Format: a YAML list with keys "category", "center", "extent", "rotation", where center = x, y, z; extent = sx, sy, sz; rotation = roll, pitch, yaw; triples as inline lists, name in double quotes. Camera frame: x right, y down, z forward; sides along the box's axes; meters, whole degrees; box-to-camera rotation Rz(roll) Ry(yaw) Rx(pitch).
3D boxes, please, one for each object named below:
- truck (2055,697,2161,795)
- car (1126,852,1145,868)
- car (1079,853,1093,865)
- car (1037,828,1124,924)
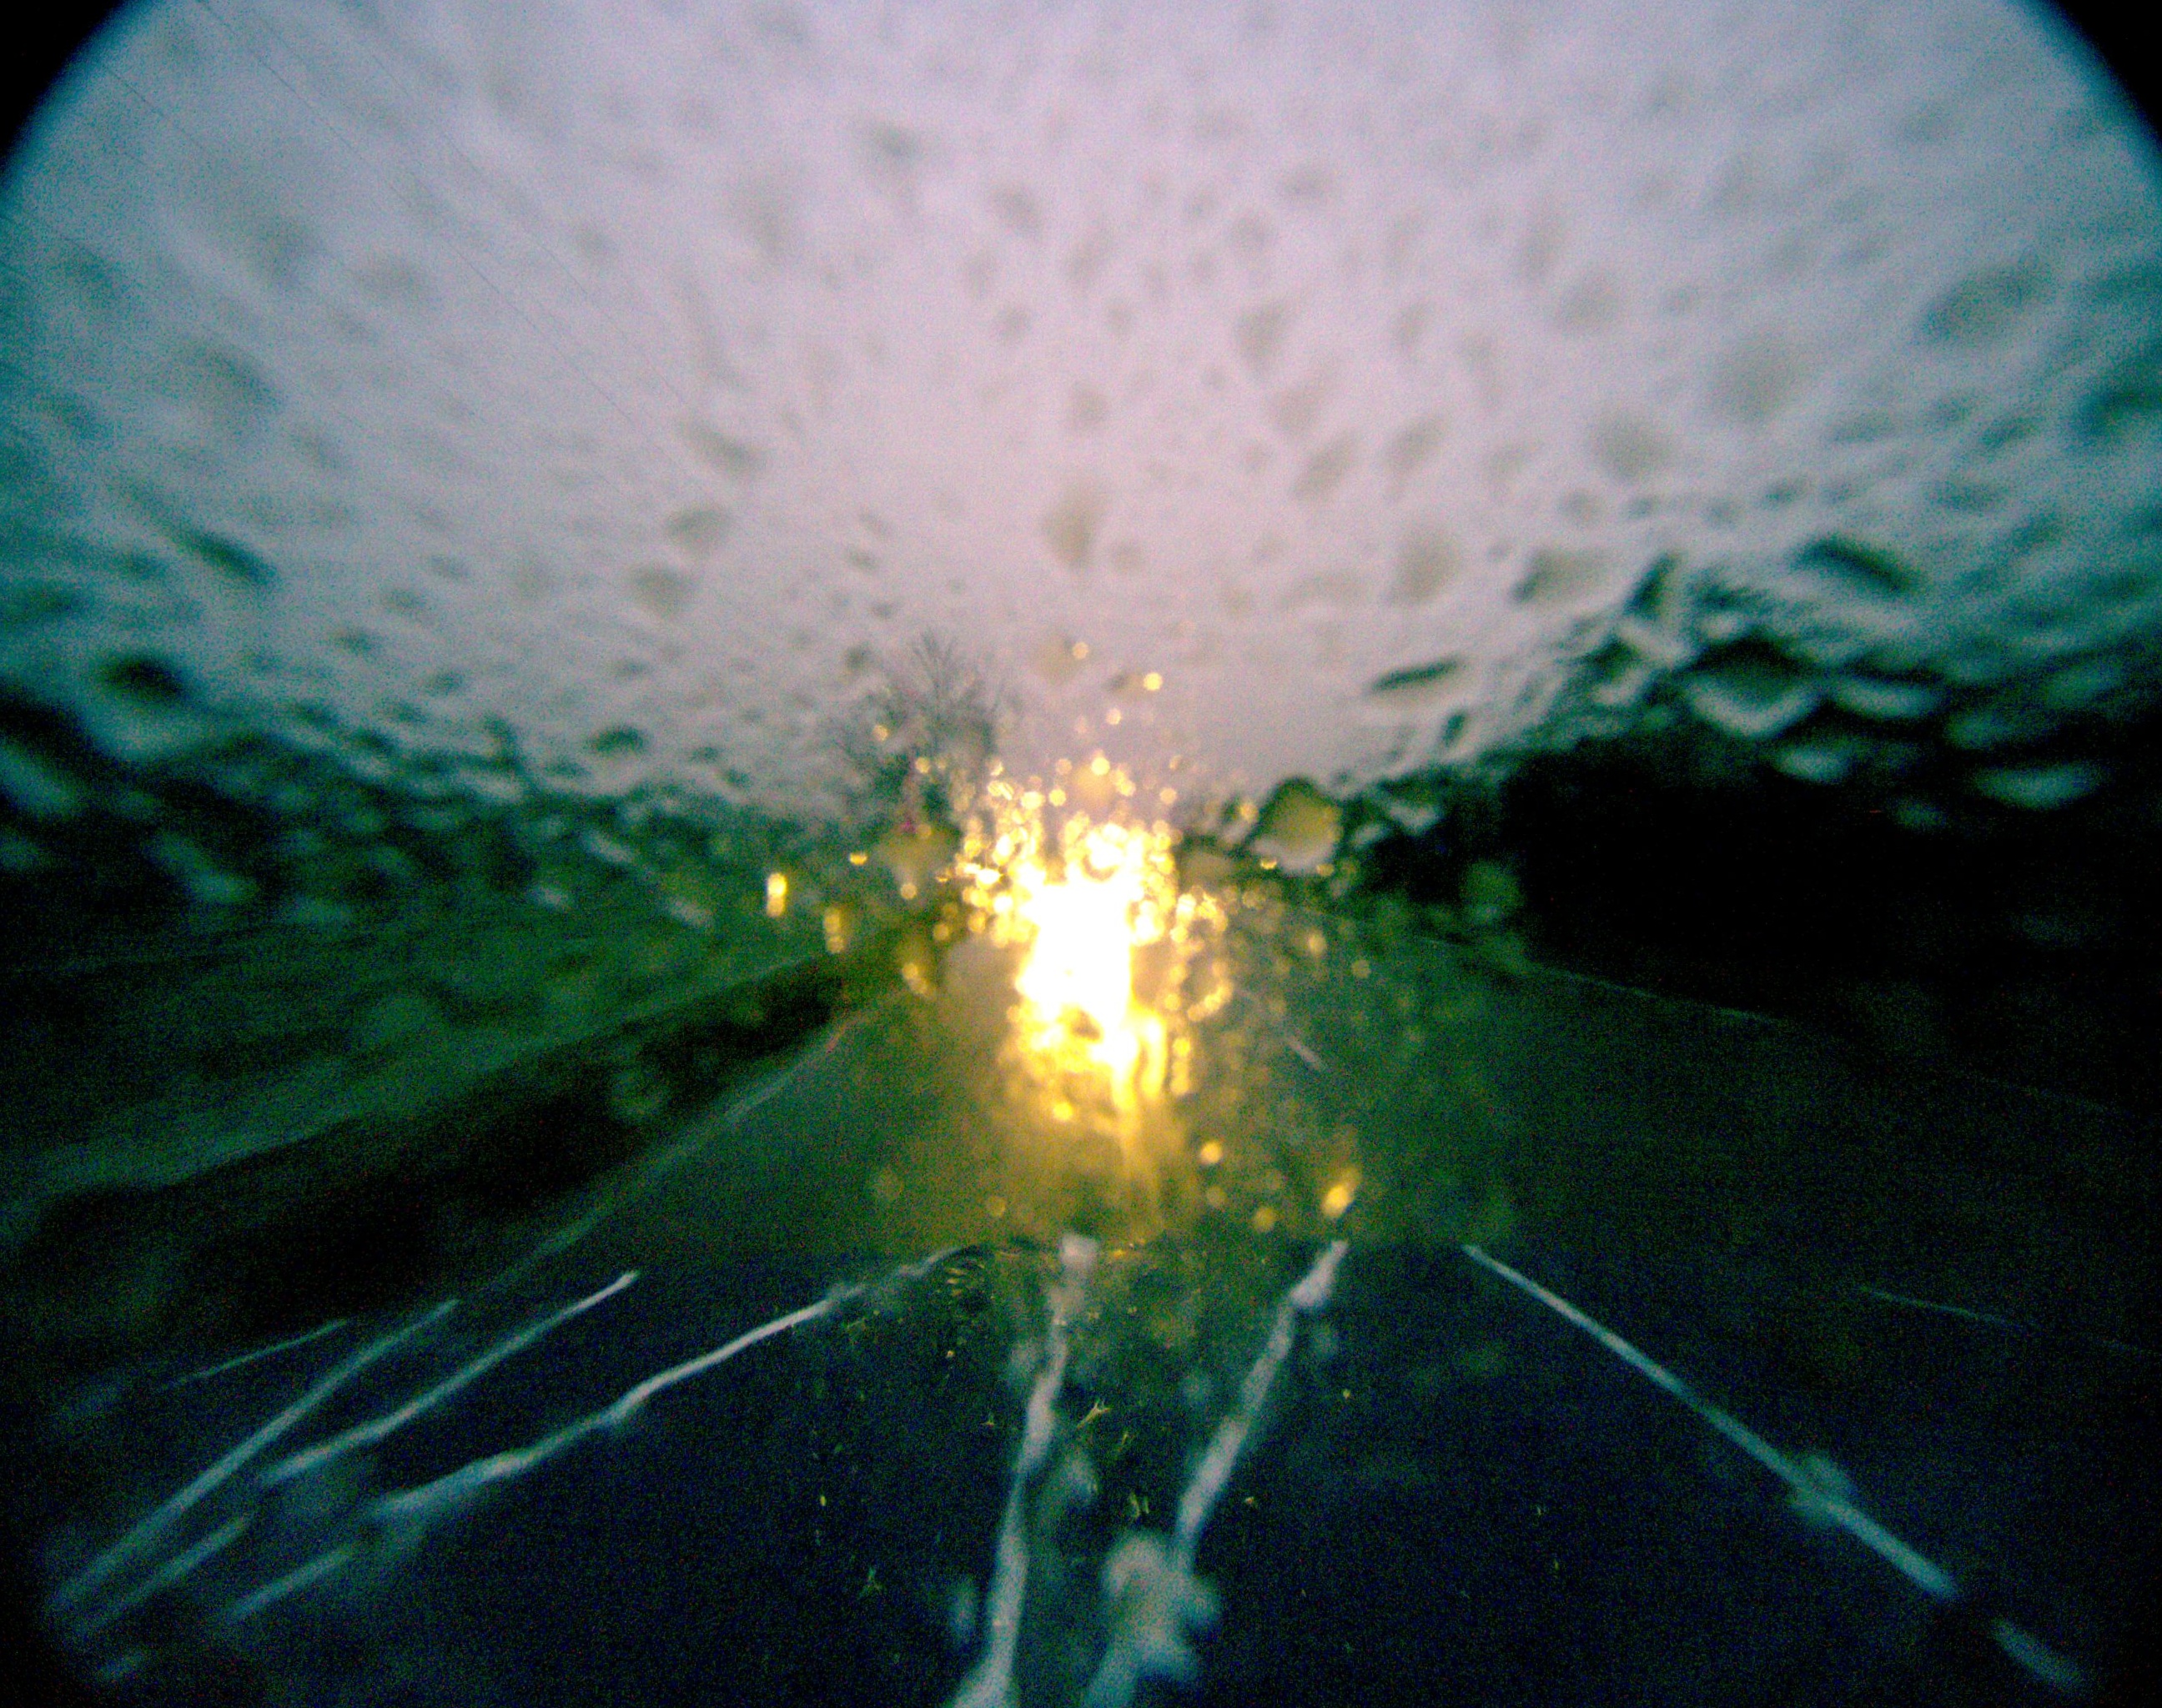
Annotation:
- category: "truck"
  center: [30.291, -3.033, 20.010]
  extent: [1.999, 2.479, 5.656]
  rotation: [-2, 1, -1]
- category: "car"
  center: [6.271, 0.657, 87.509]
  extent: [1.913, 1.654, 3.928]
  rotation: [-2, 1, 1]
- category: "car"
  center: [0.660, 0.660, 101.927]
  extent: [1.913, 1.549, 3.928]
  rotation: [-2, 1, 0]
- category: "car"
  center: [0.019, 0.497, 20.216]
  extent: [1.953, 2.195, 4.534]
  rotation: [-2, 1, 1]
